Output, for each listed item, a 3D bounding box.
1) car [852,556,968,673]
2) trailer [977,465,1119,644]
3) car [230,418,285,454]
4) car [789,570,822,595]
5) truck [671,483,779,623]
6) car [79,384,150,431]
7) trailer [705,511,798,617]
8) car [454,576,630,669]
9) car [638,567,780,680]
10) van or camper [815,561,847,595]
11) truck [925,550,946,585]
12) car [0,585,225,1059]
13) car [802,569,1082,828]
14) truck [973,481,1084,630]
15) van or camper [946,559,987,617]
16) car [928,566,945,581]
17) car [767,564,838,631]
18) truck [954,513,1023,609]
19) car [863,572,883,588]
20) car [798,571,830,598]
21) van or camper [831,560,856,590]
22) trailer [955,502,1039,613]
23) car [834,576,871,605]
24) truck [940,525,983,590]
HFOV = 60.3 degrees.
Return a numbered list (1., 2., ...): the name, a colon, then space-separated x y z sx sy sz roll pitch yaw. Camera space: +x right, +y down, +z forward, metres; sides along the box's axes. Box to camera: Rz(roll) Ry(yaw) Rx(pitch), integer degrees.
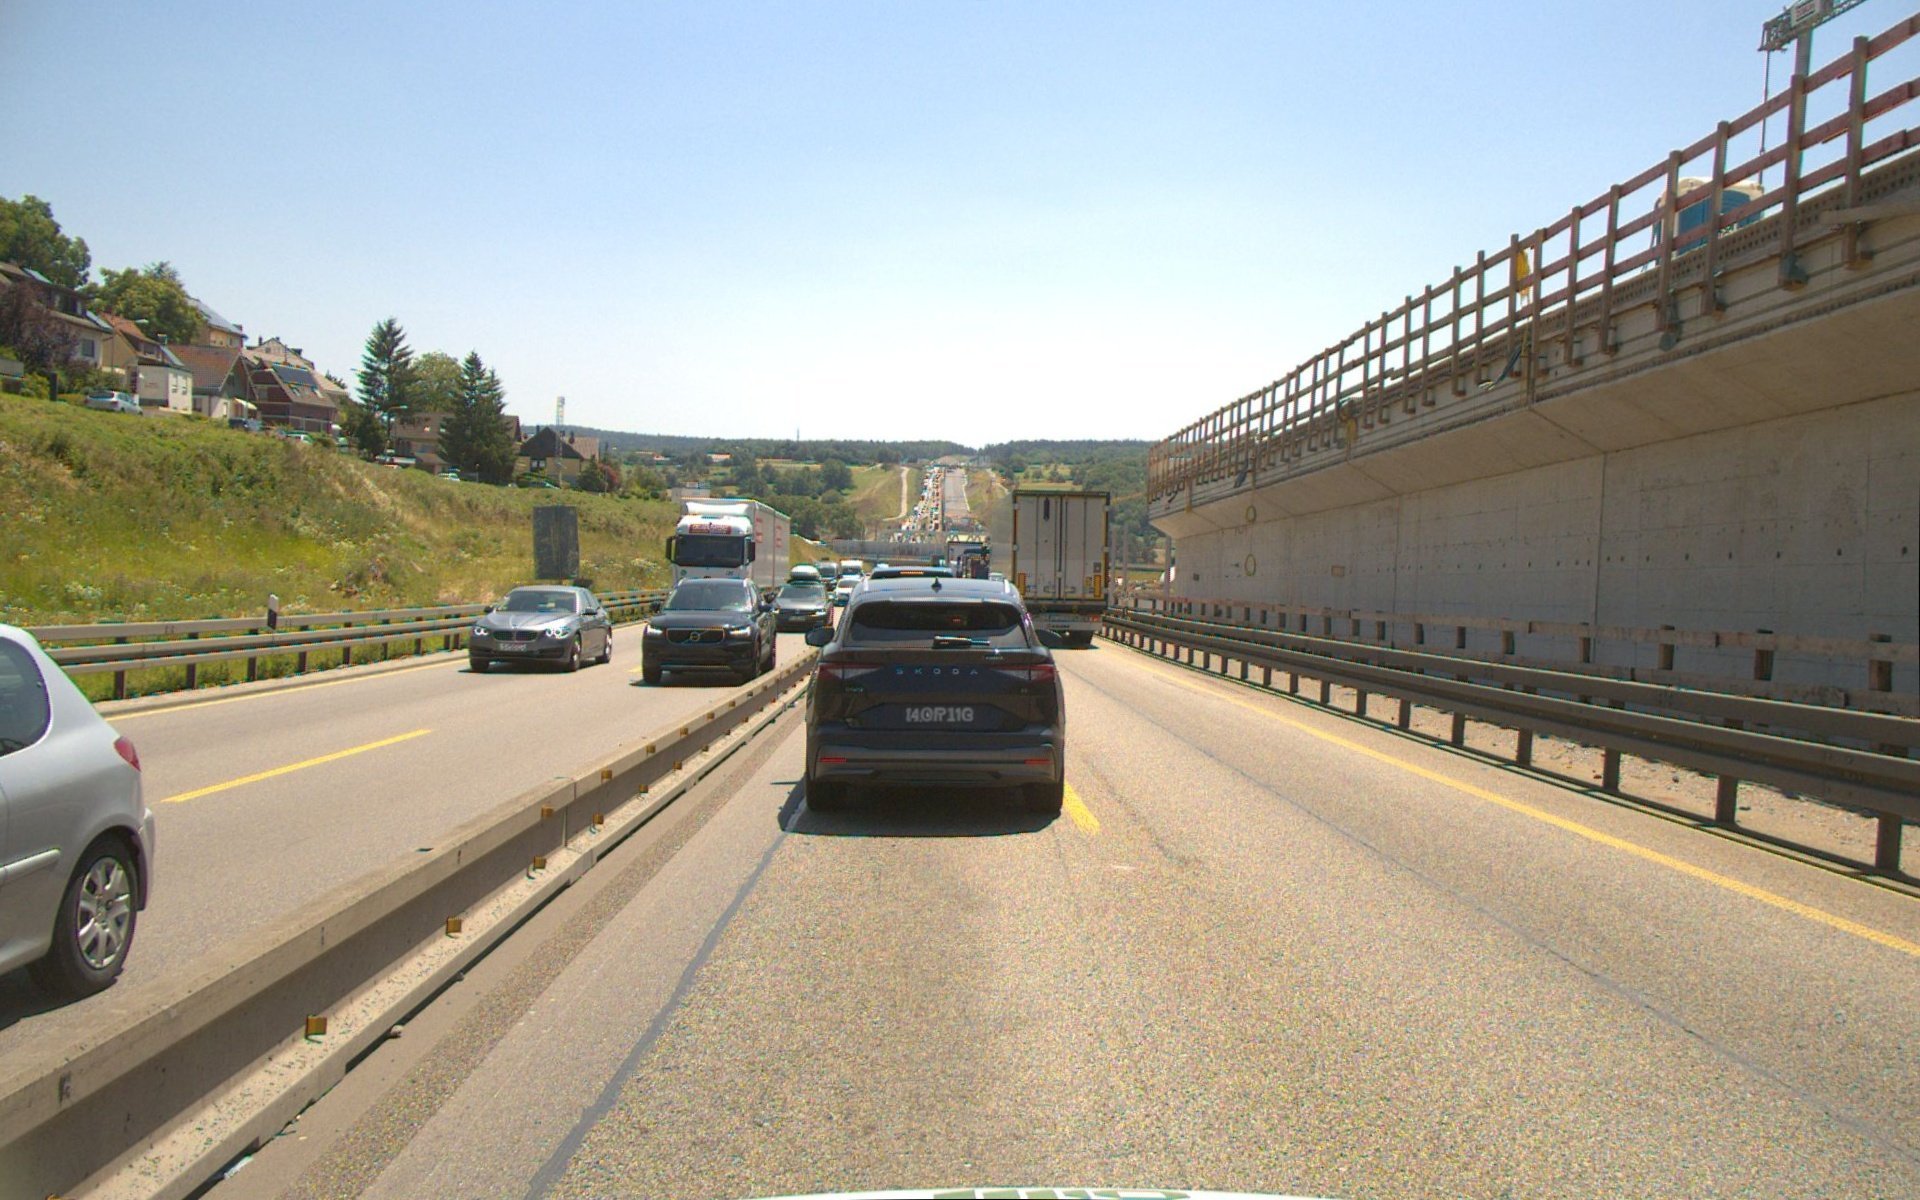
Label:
1. car: -0.916 0.251 30.363 1.953 1.959 4.506 1 0 -2
2. trailer: 2.339 -1.322 49.334 3.116 4.591 13.106 1 1 -2
3. car: -46.052 -10.702 108.477 2.137 1.825 4.755 1 0 -8
4. car: -9.975 -1.110 107.028 1.954 1.500 3.997 1 0 -3
5. truck: -8.189 -1.563 58.880 2.568 4.473 10.382 1 0 -1
6. car: -43.130 -9.800 84.475 1.956 1.825 3.993 1 0 -8
7. trailer: -8.515 -1.412 68.443 2.870 4.058 8.704 1 0 -1
8. car: -7.600 0.395 30.652 1.953 1.534 5.299 1 0 -1
9. car: -4.052 0.347 27.304 1.832 1.713 3.999 1 0 -2
10. van or camper: -10.296 -1.789 132.341 2.097 2.618 6.563 1 1 -2
11. truck: -3.224 -4.197 214.462 2.586 4.267 9.281 1 0 -1
12. car: -3.803 0.688 4.791 1.633 1.475 3.905 1 0 -1
13. car: -0.141 0.619 12.579 1.766 1.635 3.999 1 0 -1
14. truck: 2.167 -1.478 55.823 3.116 4.591 8.164 1 1 -2
15. van or camper: 0.405 -0.676 99.914 2.339 3.338 6.469 1 0 1
16. car: -2.625 -2.946 183.937 1.776 1.629 4.572 1 1 -1
17. car: -4.750 -0.089 50.536 1.812 1.923 4.500 1 1 -1
18. truck: 1.367 -1.883 84.059 3.116 4.592 8.162 1 0 -2
19. car: -8.426 -1.931 160.587 1.805 1.501 4.833 1 1 -2
20. car: -9.450 -1.007 107.040 1.737 1.609 4.284 2 1 -2
21. van or camper: -12.407 -2.633 176.366 2.245 3.120 6.922 1 1 -2
22. trailer: 1.529 -1.767 77.101 3.116 4.592 14.961 1 0 -2
23. car: -5.650 -0.516 87.302 1.766 1.489 3.999 1 1 -2
24. truck: 0.022 -3.072 125.302 2.795 4.543 11.912 1 0 -2
